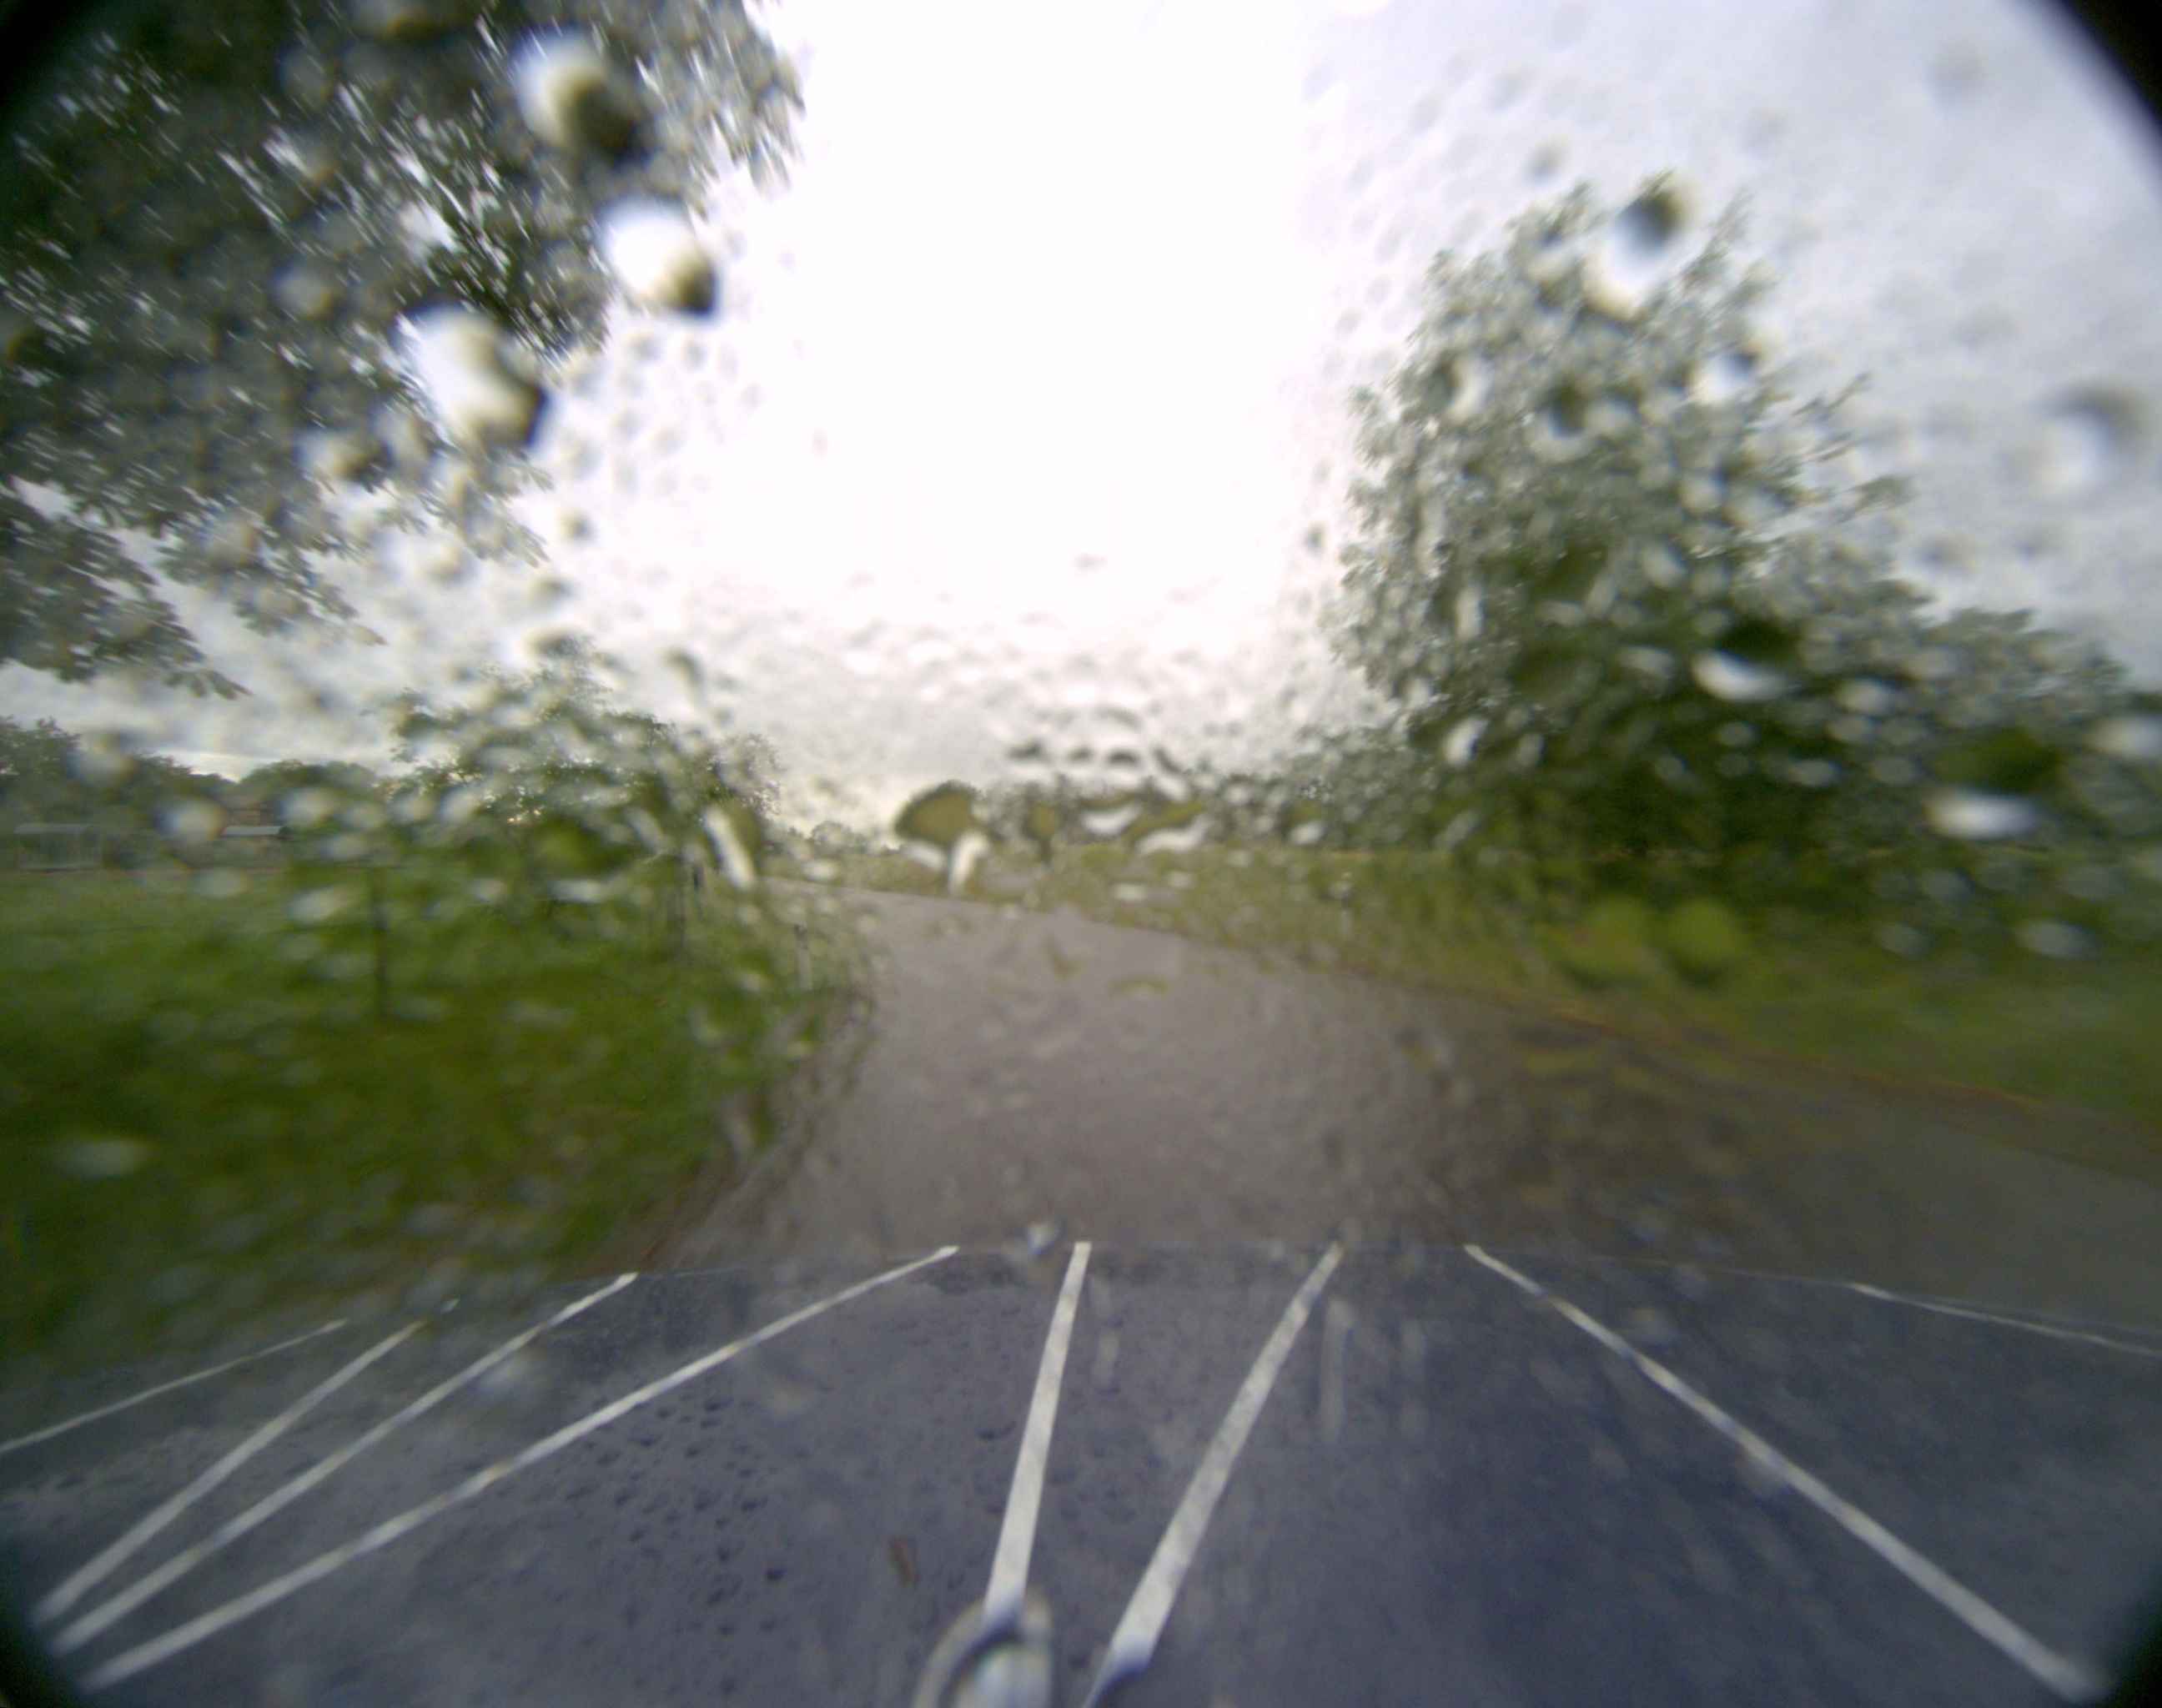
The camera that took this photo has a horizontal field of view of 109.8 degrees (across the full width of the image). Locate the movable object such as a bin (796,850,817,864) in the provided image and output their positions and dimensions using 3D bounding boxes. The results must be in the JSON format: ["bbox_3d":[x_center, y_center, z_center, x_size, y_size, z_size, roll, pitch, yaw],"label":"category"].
[{"bbox_3d":[-33.532,0.335,92.847,1.687,1.562,3.529,-1,1,-33],"label":"movable object such as a bin"}]
